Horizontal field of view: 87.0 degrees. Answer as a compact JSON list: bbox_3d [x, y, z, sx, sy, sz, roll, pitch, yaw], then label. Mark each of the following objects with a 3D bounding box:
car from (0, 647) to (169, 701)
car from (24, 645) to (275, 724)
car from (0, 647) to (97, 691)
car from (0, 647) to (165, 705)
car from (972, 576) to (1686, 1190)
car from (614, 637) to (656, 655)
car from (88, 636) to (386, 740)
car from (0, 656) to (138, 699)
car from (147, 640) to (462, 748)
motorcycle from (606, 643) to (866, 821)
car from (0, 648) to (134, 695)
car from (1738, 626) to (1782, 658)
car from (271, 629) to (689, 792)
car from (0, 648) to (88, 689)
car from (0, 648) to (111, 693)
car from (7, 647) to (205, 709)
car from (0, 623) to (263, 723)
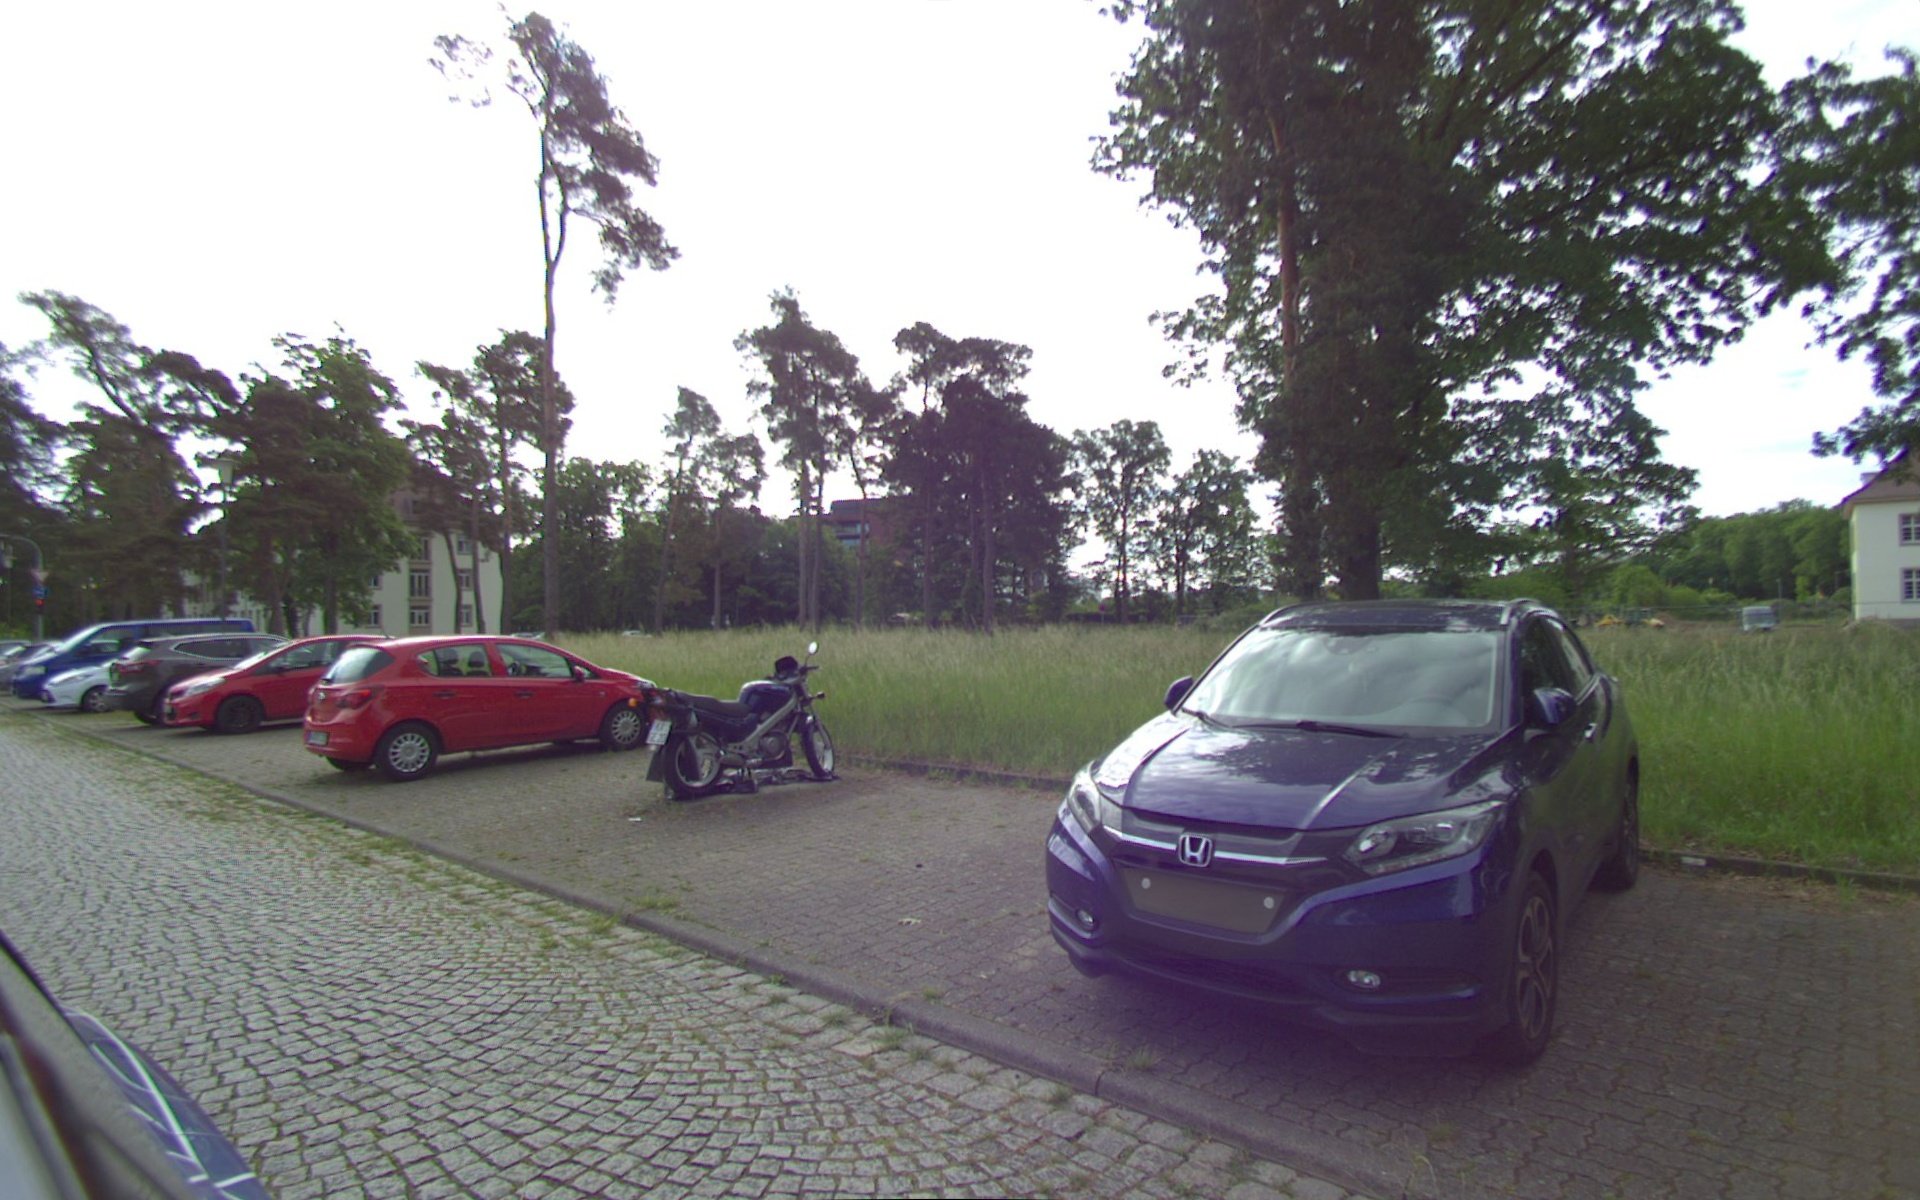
[{"bbox_3d":[-27.907,2.307,32.175,1.845,1.493,4.121,-3,-3,42],"label":"car"},{"bbox_3d":[-18.065,1.825,22.713,1.779,1.522,4.125,-3,-3,39],"label":"car"},{"bbox_3d":[-35.766,2.637,38.468,1.933,1.560,4.210,-3,-3,37],"label":"car"},{"bbox_3d":[-26.132,2.200,29.759,1.864,1.503,4.120,-3,-3,43],"label":"car"},{"bbox_3d":[2.119,0.757,4.862,1.885,1.589,4.185,-3,-2,40],"label":"car"},{"bbox_3d":[-34.631,4.864,107.904,1.722,1.821,3.942,-3,-3,44],"label":"car"},{"bbox_3d":[-13.219,1.525,18.712,1.984,1.635,4.125,-3,-3,38],"label":"car"},{"bbox_3d":[-30.124,2.560,33.659,1.831,1.276,4.121,-3,-3,42],"label":"car"},{"bbox_3d":[-10.952,1.487,17.142,1.906,1.522,4.124,-3,-3,40],"label":"car"},{"bbox_3d":[-1.935,1.090,9.079,0.718,1.301,2.250,-3,-1,42],"label":"motorcycle"},{"bbox_3d":[-31.742,2.483,35.419,1.863,1.488,4.123,-3,-3,40],"label":"car"},{"bbox_3d":[58.264,3.013,73.805,1.994,2.217,4.981,-3,-2,33],"label":"car"},{"bbox_3d":[-5.439,1.138,11.871,1.903,1.537,4.014,-3,-3,40],"label":"car"},{"bbox_3d":[-37.634,2.741,40.476,1.904,1.555,3.946,-3,-3,40],"label":"car"},{"bbox_3d":[-33.726,2.548,36.635,1.933,1.519,4.331,-3,-3,39],"label":"car"},{"bbox_3d":[-23.718,2.121,28.210,1.845,1.509,4.024,-3,-3,42],"label":"car"},{"bbox_3d":[-19.970,1.664,24.480,2.114,2.138,4.733,-3,-3,40],"label":"car"}]
